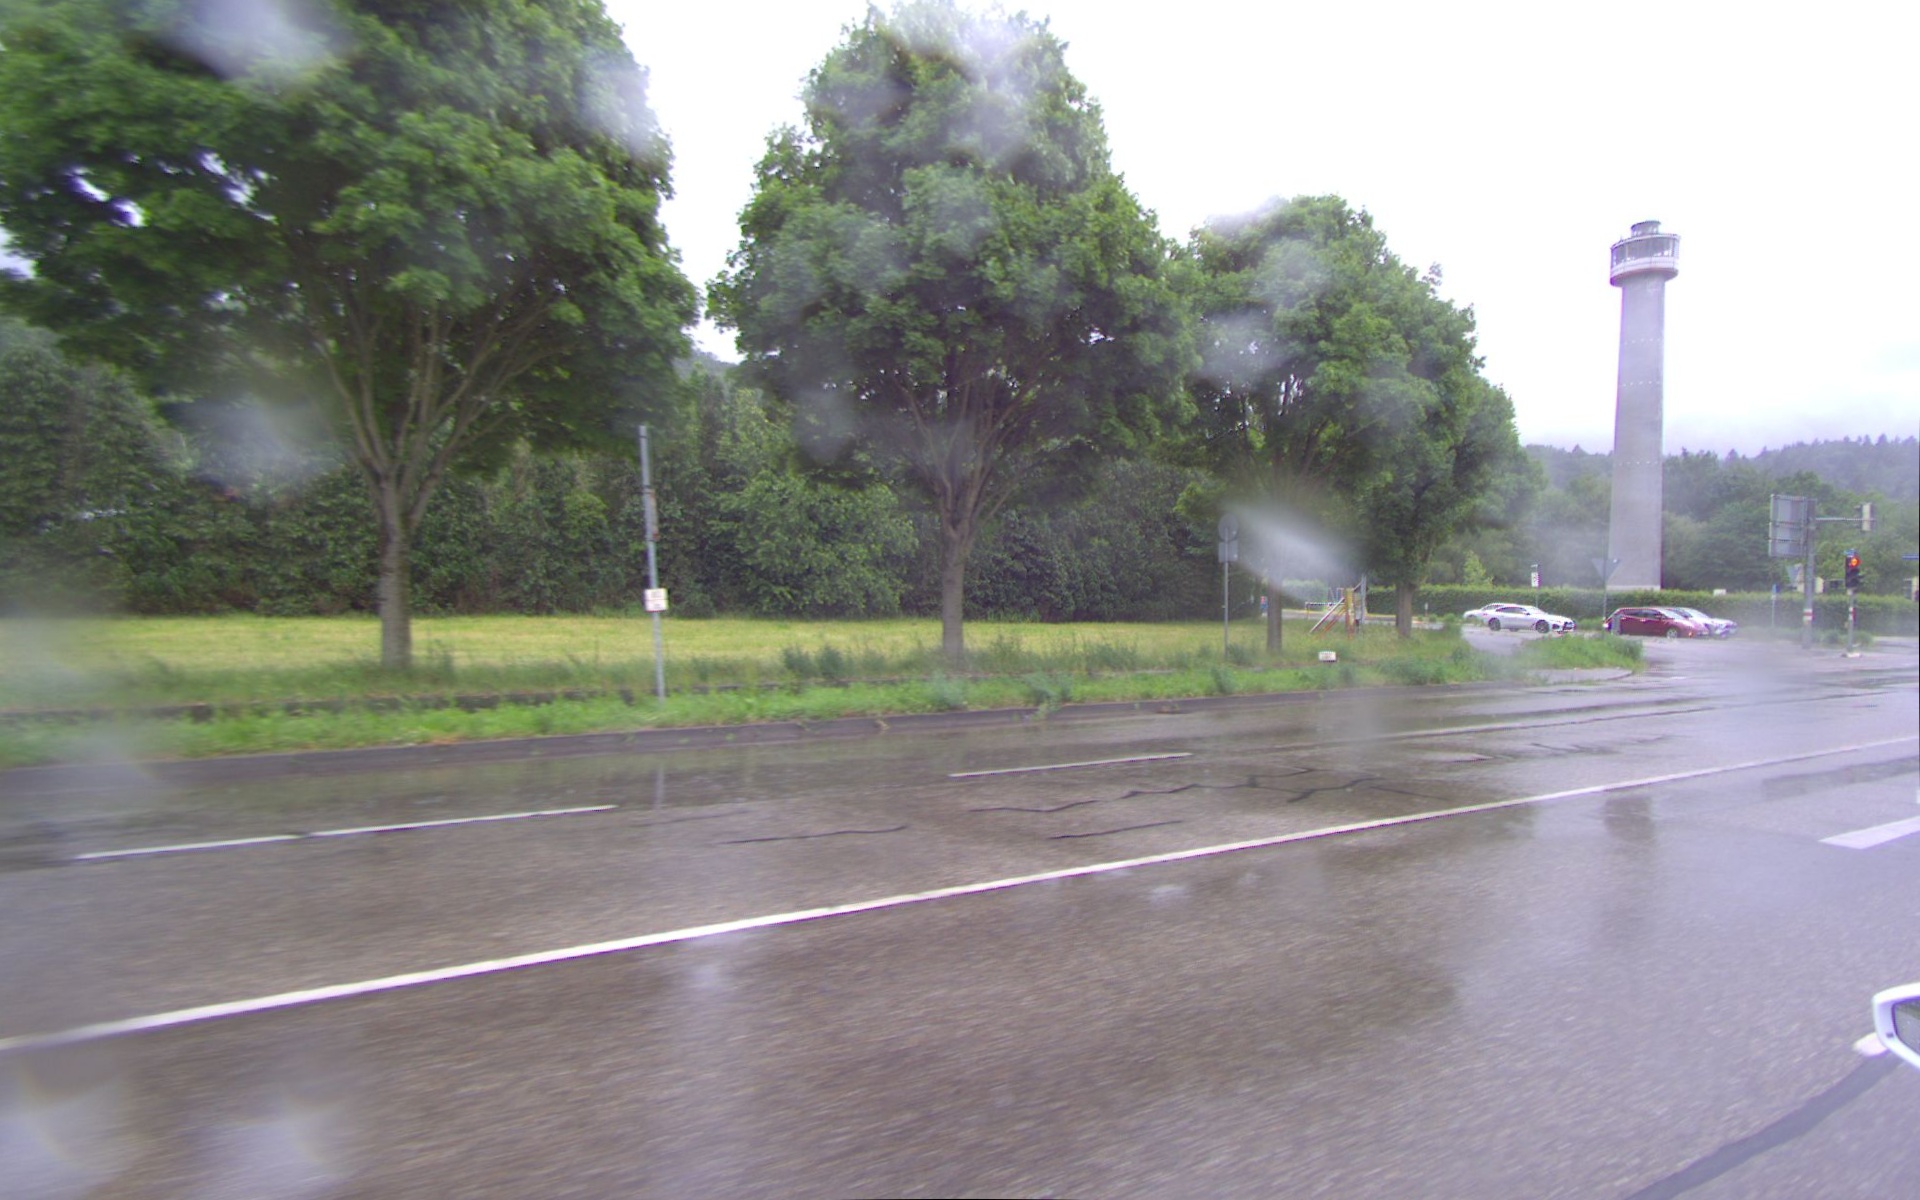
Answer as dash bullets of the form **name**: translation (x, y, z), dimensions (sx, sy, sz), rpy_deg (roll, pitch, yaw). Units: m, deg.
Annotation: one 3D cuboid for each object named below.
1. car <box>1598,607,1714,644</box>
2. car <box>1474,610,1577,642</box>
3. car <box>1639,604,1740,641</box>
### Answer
- **car**: translation (33.849, 1.225, 48.992), dimensions (1.708, 1.601, 4.364), rpy_deg (1, 1, -23)
- **car**: translation (30.951, 1.414, 55.157), dimensions (1.774, 1.574, 4.870), rpy_deg (1, 0, -23)
- **car**: translation (36.903, 1.112, 50.934), dimensions (1.721, 1.734, 3.792), rpy_deg (1, 1, -23)
